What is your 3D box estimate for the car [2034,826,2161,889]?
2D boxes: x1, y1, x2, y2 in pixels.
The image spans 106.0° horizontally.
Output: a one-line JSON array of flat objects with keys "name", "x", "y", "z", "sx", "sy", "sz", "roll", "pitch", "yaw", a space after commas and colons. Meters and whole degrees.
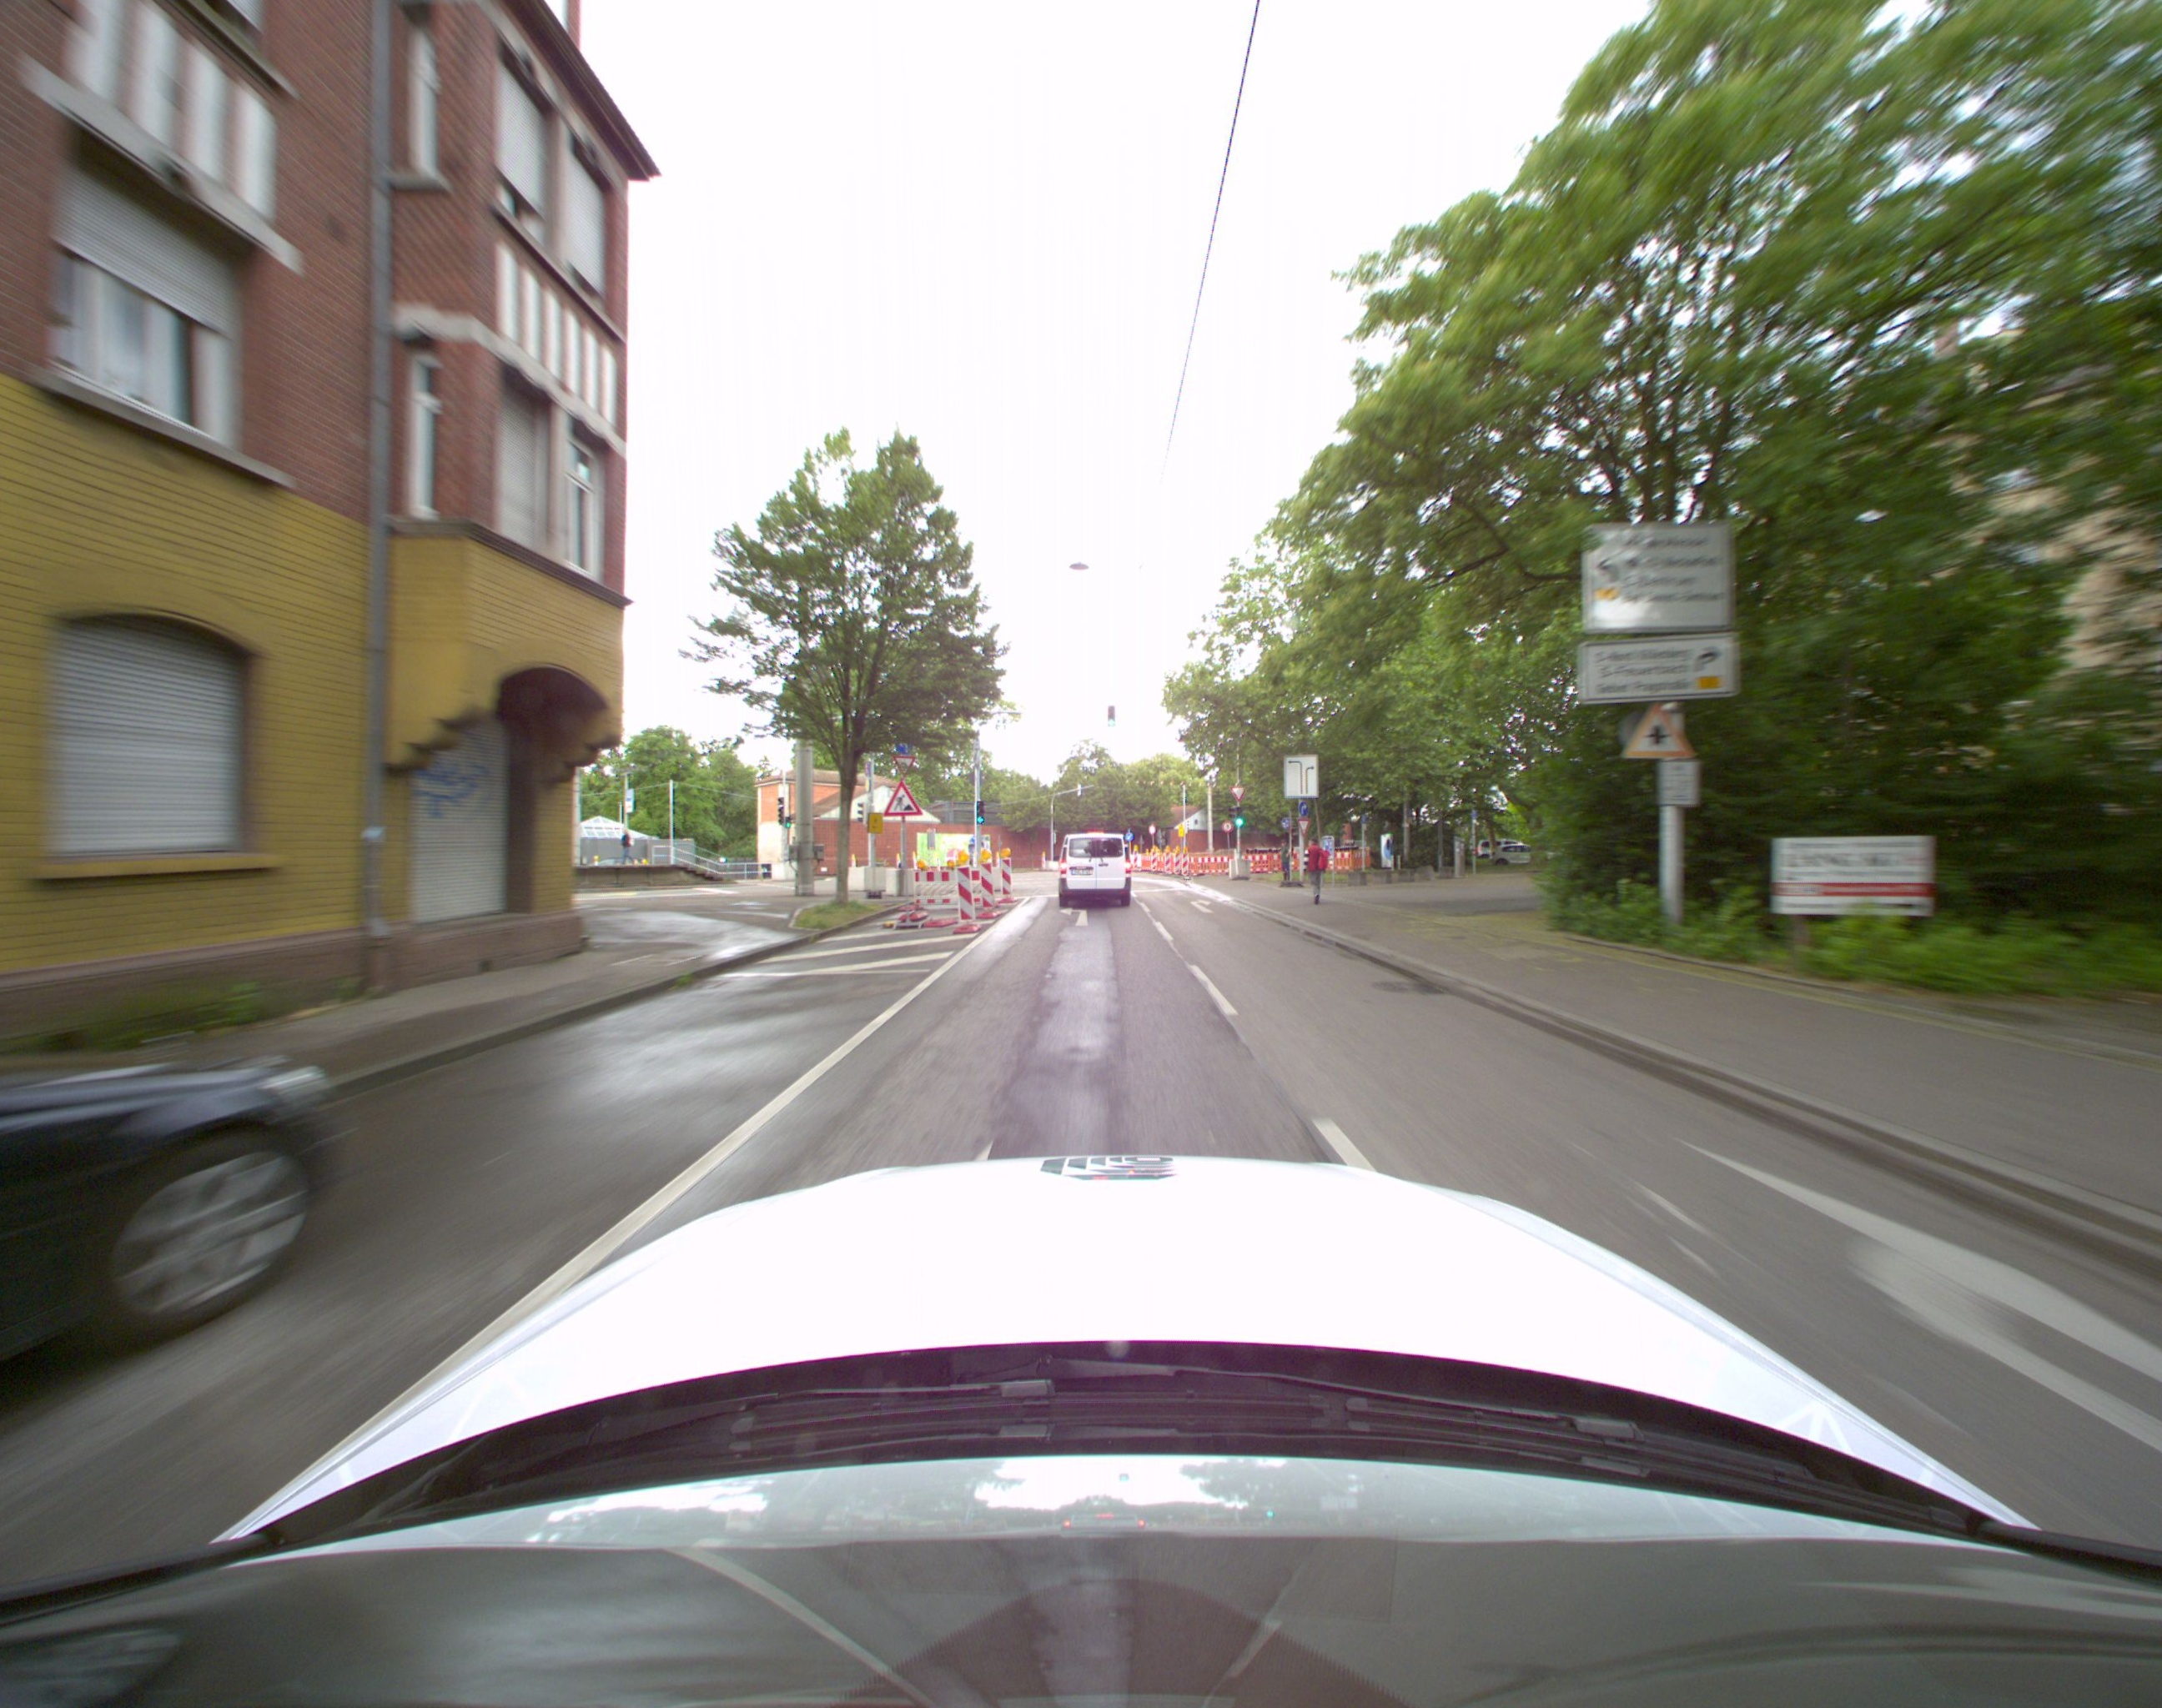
[{"name": "car", "x": 27.751, "y": 0.080, "z": 21.047, "sx": 1.630, "sy": 1.589, "sz": 3.951, "roll": -1, "pitch": -1, "yaw": -42}]

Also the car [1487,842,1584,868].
[{"name": "car", "x": 25.568, "y": 0.050, "z": 45.949, "sx": 4.450, "sy": 1.325, "sz": 1.730, "roll": -2, "pitch": -1, "yaw": 44}]

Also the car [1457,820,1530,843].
[{"name": "car", "x": 30.235, "y": -1.599, "z": 59.727, "sx": 4.449, "sy": 1.471, "sz": 1.731, "roll": -2, "pitch": -1, "yaw": 40}]

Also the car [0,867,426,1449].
[{"name": "car", "x": -3.786, "y": 0.871, "z": 1.347, "sx": 1.718, "sy": 1.485, "sz": 4.393, "roll": 1, "pitch": 2, "yaw": 2}]

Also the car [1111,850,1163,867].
[{"name": "car", "x": 5.081, "y": 0.409, "z": 73.708, "sx": 4.478, "sy": 1.443, "sz": 1.859, "roll": 0, "pitch": -2, "yaw": -36}]

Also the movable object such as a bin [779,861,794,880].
[{"name": "movable object such as a bin", "x": -22.127, "y": 1.237, "z": 61.194, "sx": 0.855, "sy": 1.340, "sz": 0.791, "roll": -1, "pitch": -1, "yaw": -41}]

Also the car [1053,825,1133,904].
[{"name": "car", "x": 0.369, "y": 0.335, "z": 22.669, "sx": 1.910, "sy": 1.902, "sz": 4.702, "roll": 2, "pitch": -2, "yaw": 1}]

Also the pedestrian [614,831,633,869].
[{"name": "pedestrian", "x": -19.758, "y": -0.188, "z": 35.160, "sx": 0.529, "sy": 1.609, "sz": 0.591, "roll": -1, "pitch": -1, "yaw": -44}]

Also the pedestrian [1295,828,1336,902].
[{"name": "pedestrian", "x": 6.027, "y": 0.284, "z": 20.996, "sx": 0.776, "sy": 1.831, "sz": 0.728, "roll": -3, "pitch": 0, "yaw": 1}]

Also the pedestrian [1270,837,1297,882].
[{"name": "pedestrian", "x": 7.884, "y": 0.212, "z": 31.718, "sx": 0.730, "sy": 1.697, "sz": 0.835, "roll": -2, "pitch": 1, "yaw": -8}]
